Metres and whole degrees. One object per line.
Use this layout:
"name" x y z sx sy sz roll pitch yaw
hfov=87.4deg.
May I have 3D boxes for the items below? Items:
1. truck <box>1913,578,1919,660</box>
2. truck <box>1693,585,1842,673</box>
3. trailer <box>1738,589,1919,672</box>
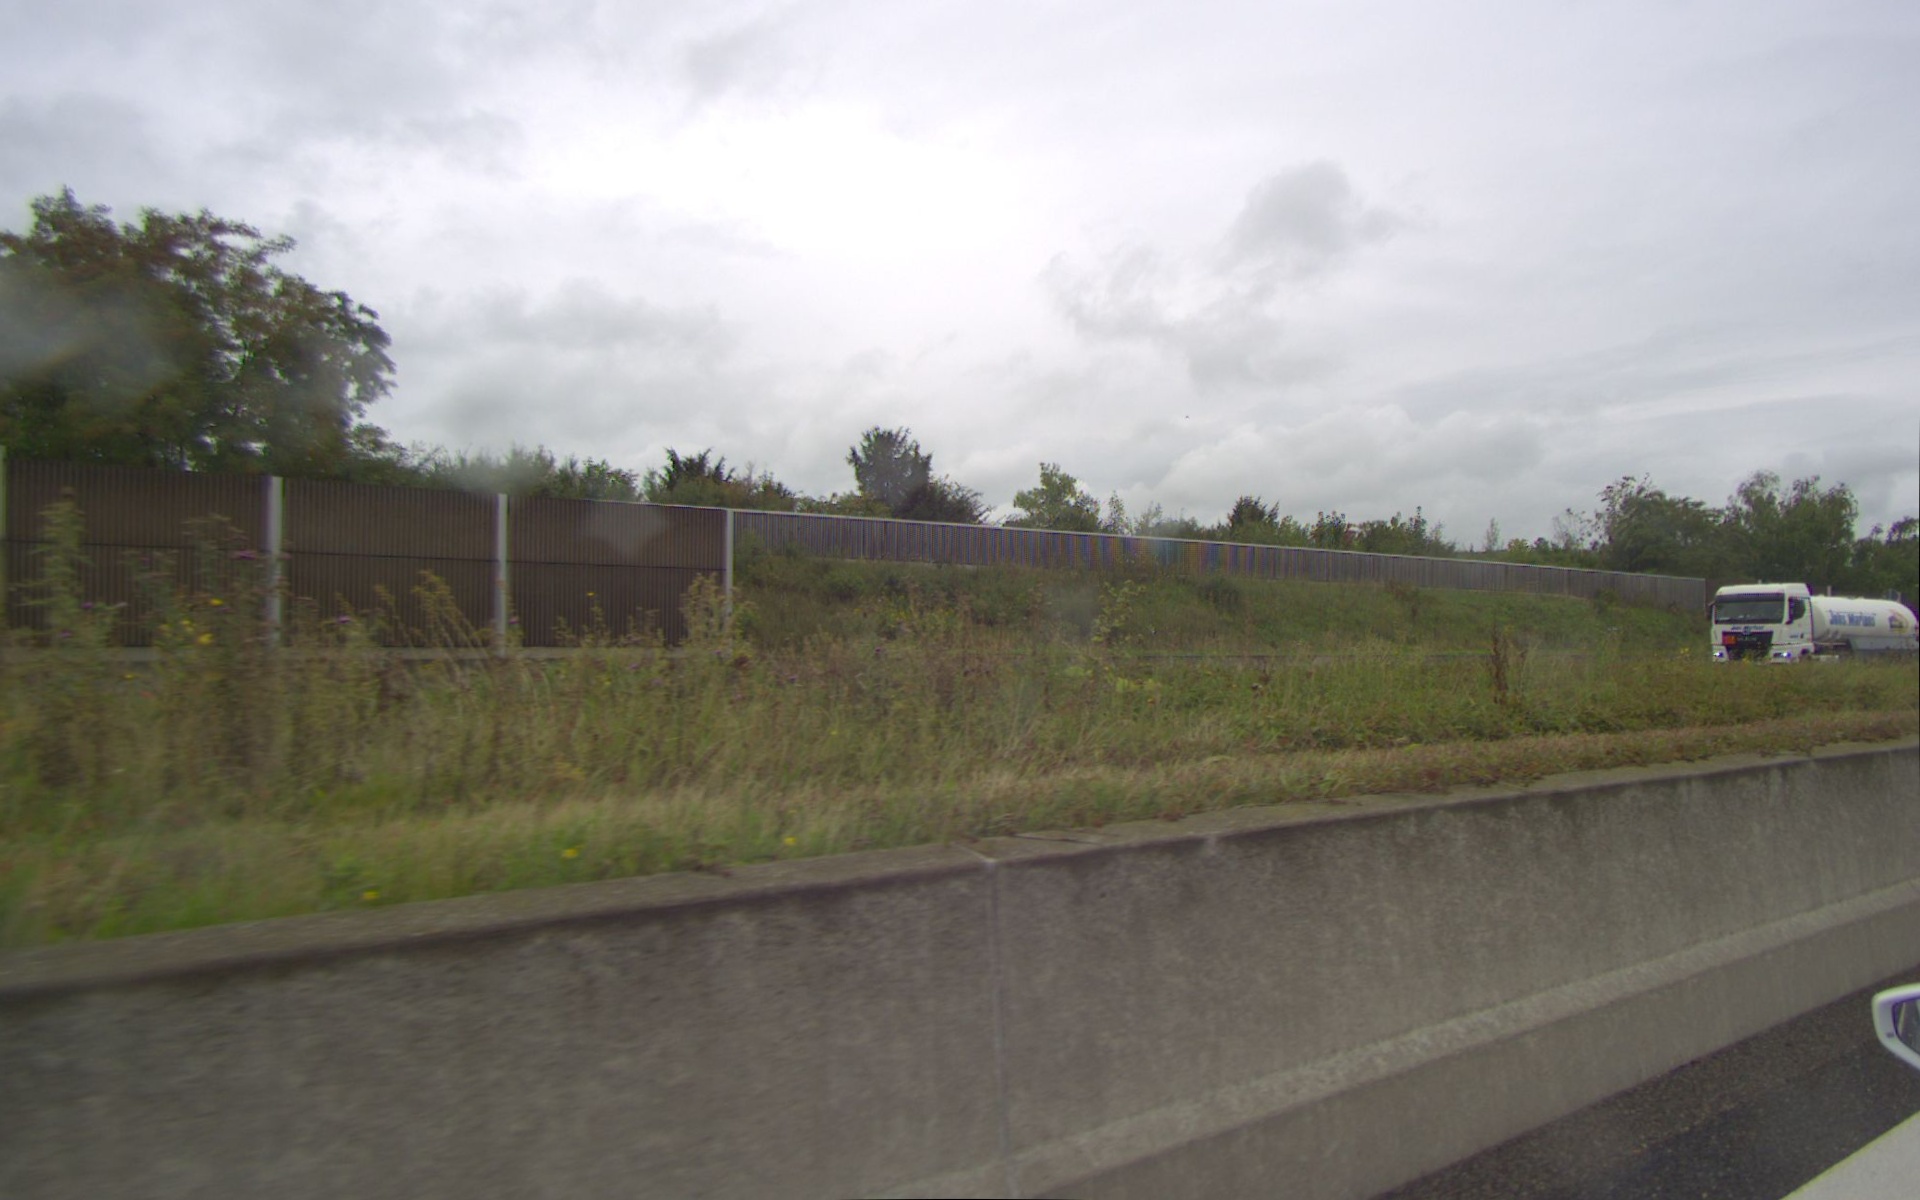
"truck" 40.563 0.875 38.908 8.625 3.108 2.941 2 1 -30
"truck" 30.402 1.087 37.792 5.551 3.060 2.607 2 1 -32
"trailer" 35.713 1.245 41.000 10.674 3.029 2.598 2 0 -31
